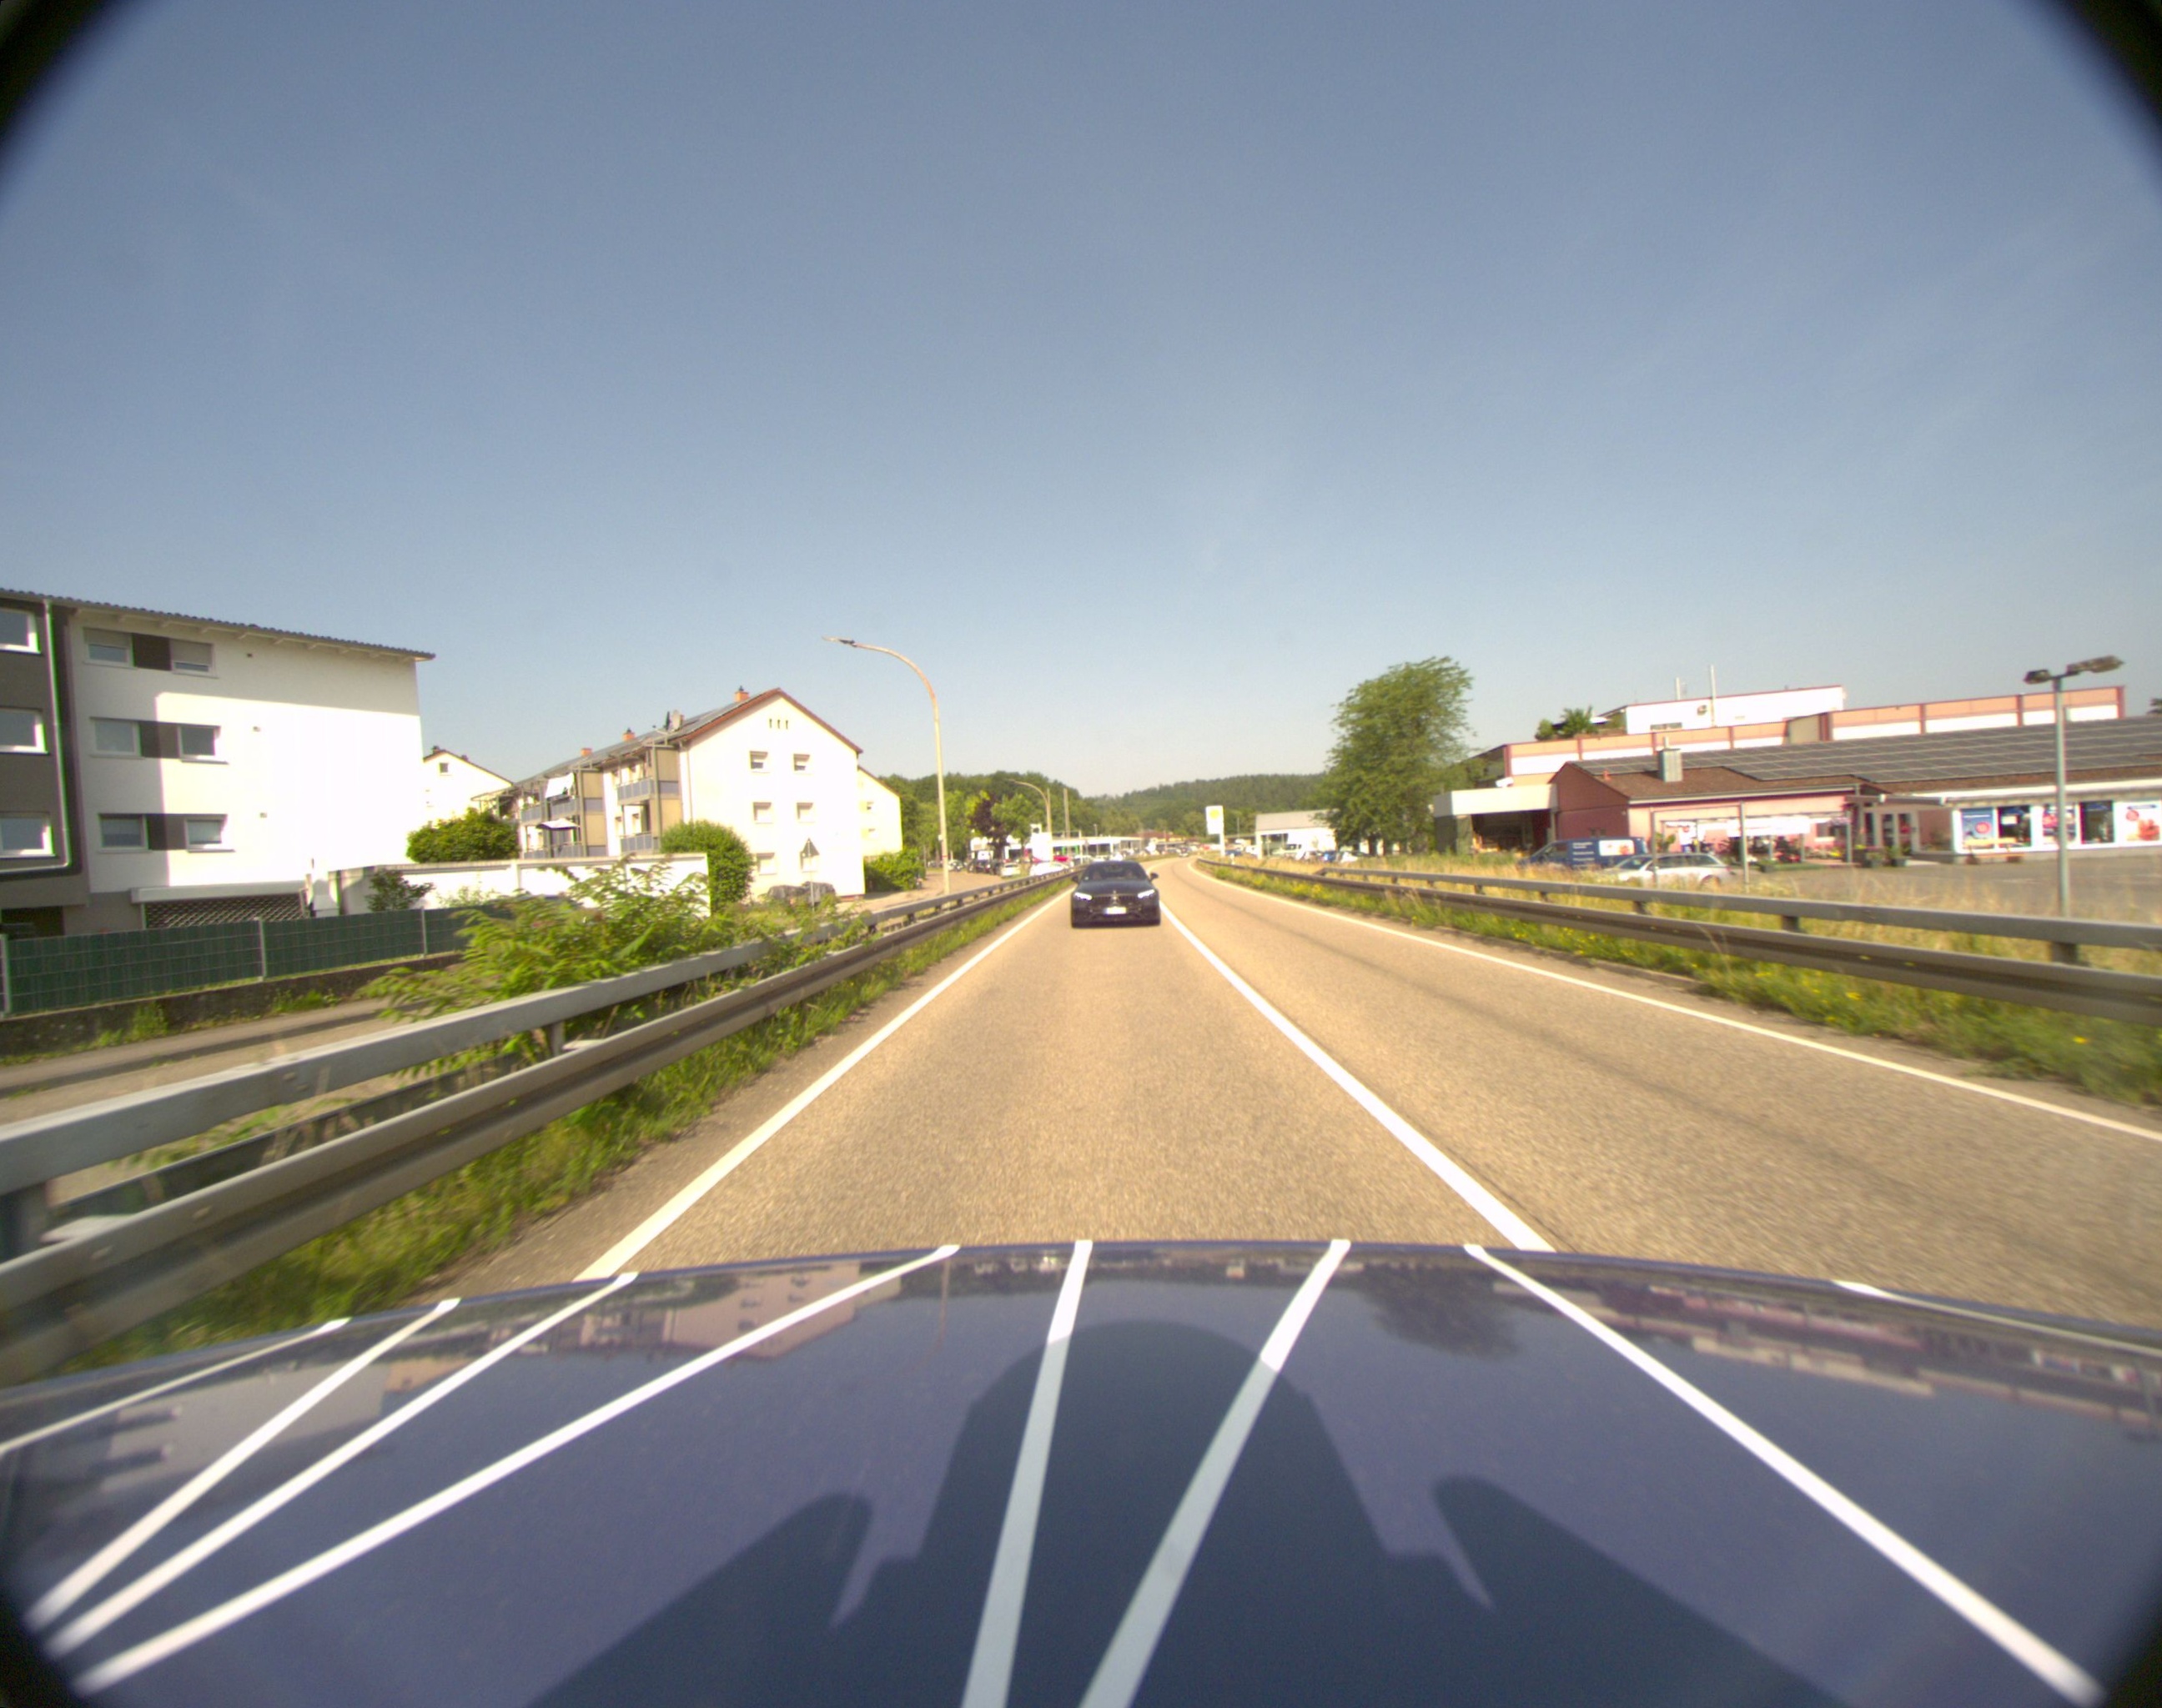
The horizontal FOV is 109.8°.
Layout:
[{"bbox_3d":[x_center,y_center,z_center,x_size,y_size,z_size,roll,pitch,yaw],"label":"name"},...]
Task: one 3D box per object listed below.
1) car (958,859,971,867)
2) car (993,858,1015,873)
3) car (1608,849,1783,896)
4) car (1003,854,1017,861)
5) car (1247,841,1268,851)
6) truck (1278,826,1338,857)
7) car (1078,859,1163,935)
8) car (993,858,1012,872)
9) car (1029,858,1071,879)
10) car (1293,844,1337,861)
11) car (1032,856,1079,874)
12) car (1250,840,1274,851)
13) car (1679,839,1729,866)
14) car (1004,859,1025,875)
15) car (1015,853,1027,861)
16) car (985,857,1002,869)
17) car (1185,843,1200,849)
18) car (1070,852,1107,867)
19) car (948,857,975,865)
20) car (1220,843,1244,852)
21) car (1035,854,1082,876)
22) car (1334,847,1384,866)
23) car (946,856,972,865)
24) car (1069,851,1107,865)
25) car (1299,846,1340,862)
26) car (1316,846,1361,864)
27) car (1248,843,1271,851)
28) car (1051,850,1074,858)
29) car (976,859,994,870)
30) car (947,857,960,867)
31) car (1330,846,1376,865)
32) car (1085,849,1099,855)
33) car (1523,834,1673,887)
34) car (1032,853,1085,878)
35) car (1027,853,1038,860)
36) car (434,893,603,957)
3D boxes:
[{"bbox_3d":[-18.547,1.418,121.062,1.595,1.179,3.657,-3,1,-17],"label":"car"},{"bbox_3d":[-8.436,1.218,83.031,1.710,1.397,4.479,-3,1,-13],"label":"car"},{"bbox_3d":[21.192,0.608,26.308,4.627,1.374,1.743,-2,0,0],"label":"car"},{"bbox_3d":[-16.950,0.791,181.655,2.000,1.537,4.613,-1,1,11],"label":"car"},{"bbox_3d":[40.767,-1.807,175.447,4.678,1.847,2.146,-4,0,14],"label":"car"},{"bbox_3d":[28.667,-1.627,95.741,8.226,3.536,2.799,-4,1,-39],"label":"truck"},{"bbox_3d":[0.883,0.897,17.624,1.716,1.382,4.147,-2,1,2],"label":"car"},{"bbox_3d":[-8.875,1.224,85.822,1.710,1.397,3.658,-3,1,-13],"label":"car"},{"bbox_3d":[-2.535,1.200,62.001,3.273,1.368,1.548,-5,2,-5],"label":"car"},{"bbox_3d":[25.920,-0.187,84.260,4.360,1.645,1.932,-3,1,5],"label":"car"},{"bbox_3d":[-2.336,0.982,69.713,4.071,1.444,1.727,-2,1,-9],"label":"car"},{"bbox_3d":[39.198,-1.782,164.590,4.799,1.970,2.231,-5,0,14],"label":"car"},{"bbox_3d":[28.554,-0.087,34.857,0.816,1.139,2.017,-2,2,7],"label":"car"},{"bbox_3d":[-6.580,1.285,75.280,1.789,1.411,4.435,-2,0,-8],"label":"car"},{"bbox_3d":[-14.290,0.688,181.141,2.001,1.537,4.611,-1,1,6],"label":"car"},{"bbox_3d":[-10.911,1.143,94.429,1.657,1.359,3.658,-3,1,-13],"label":"car"},{"bbox_3d":[33.728,-2.479,230.283,4.049,1.608,1.882,-1,2,23],"label":"car"},{"bbox_3d":[0.978,0.671,93.219,4.156,1.474,1.884,-4,1,13],"label":"car"},{"bbox_3d":[-22.980,1.340,145.785,4.755,1.450,1.928,-2,1,-18],"label":"car"},{"bbox_3d":[29.507,-1.286,148.759,4.237,1.498,1.981,-2,0,-26],"label":"car"},{"bbox_3d":[-2.001,0.933,67.169,3.998,1.441,1.764,-6,1,-3],"label":"car"},{"bbox_3d":[24.355,0.217,66.620,3.755,1.452,1.862,-2,1,7],"label":"car"},{"bbox_3d":[-23.850,1.284,148.454,4.755,1.579,1.928,-2,1,-18],"label":"car"},{"bbox_3d":[0.885,0.520,96.549,4.324,1.630,2.143,-2,1,19],"label":"car"},{"bbox_3d":[25.553,0.029,81.491,3.755,1.491,1.932,-3,1,5],"label":"car"},{"bbox_3d":[24.622,0.084,72.799,3.755,1.491,1.933,-3,1,7],"label":"car"},{"bbox_3d":[37.468,-1.508,159.499,4.235,1.395,1.894,-4,1,-26],"label":"car"},{"bbox_3d":[-4.014,0.088,165.370,4.742,1.556,1.934,-1,1,17],"label":"car"},{"bbox_3d":[-13.045,1.410,102.700,1.915,1.397,4.519,-3,1,-13],"label":"car"},{"bbox_3d":[-21.223,1.368,126.369,1.787,1.466,3.983,-3,1,-12],"label":"car"},{"bbox_3d":[24.959,0.107,69.741,3.753,1.491,1.859,-3,1,14],"label":"car"},{"bbox_3d":[2.539,-0.487,182.759,1.933,1.556,4.744,-2,1,-17],"label":"car"},{"bbox_3d":[21.153,0.281,31.183,4.892,2.002,2.004,-2,1,39],"label":"car"},{"bbox_3d":[-1.975,0.967,64.923,4.245,1.563,1.917,-6,2,-5],"label":"car"},{"bbox_3d":[-11.488,0.578,180.819,2.001,1.537,4.610,-2,1,3],"label":"car"},{"bbox_3d":[-14.231,1.708,19.158,4.599,1.340,1.758,-1,0,31],"label":"car"}]
